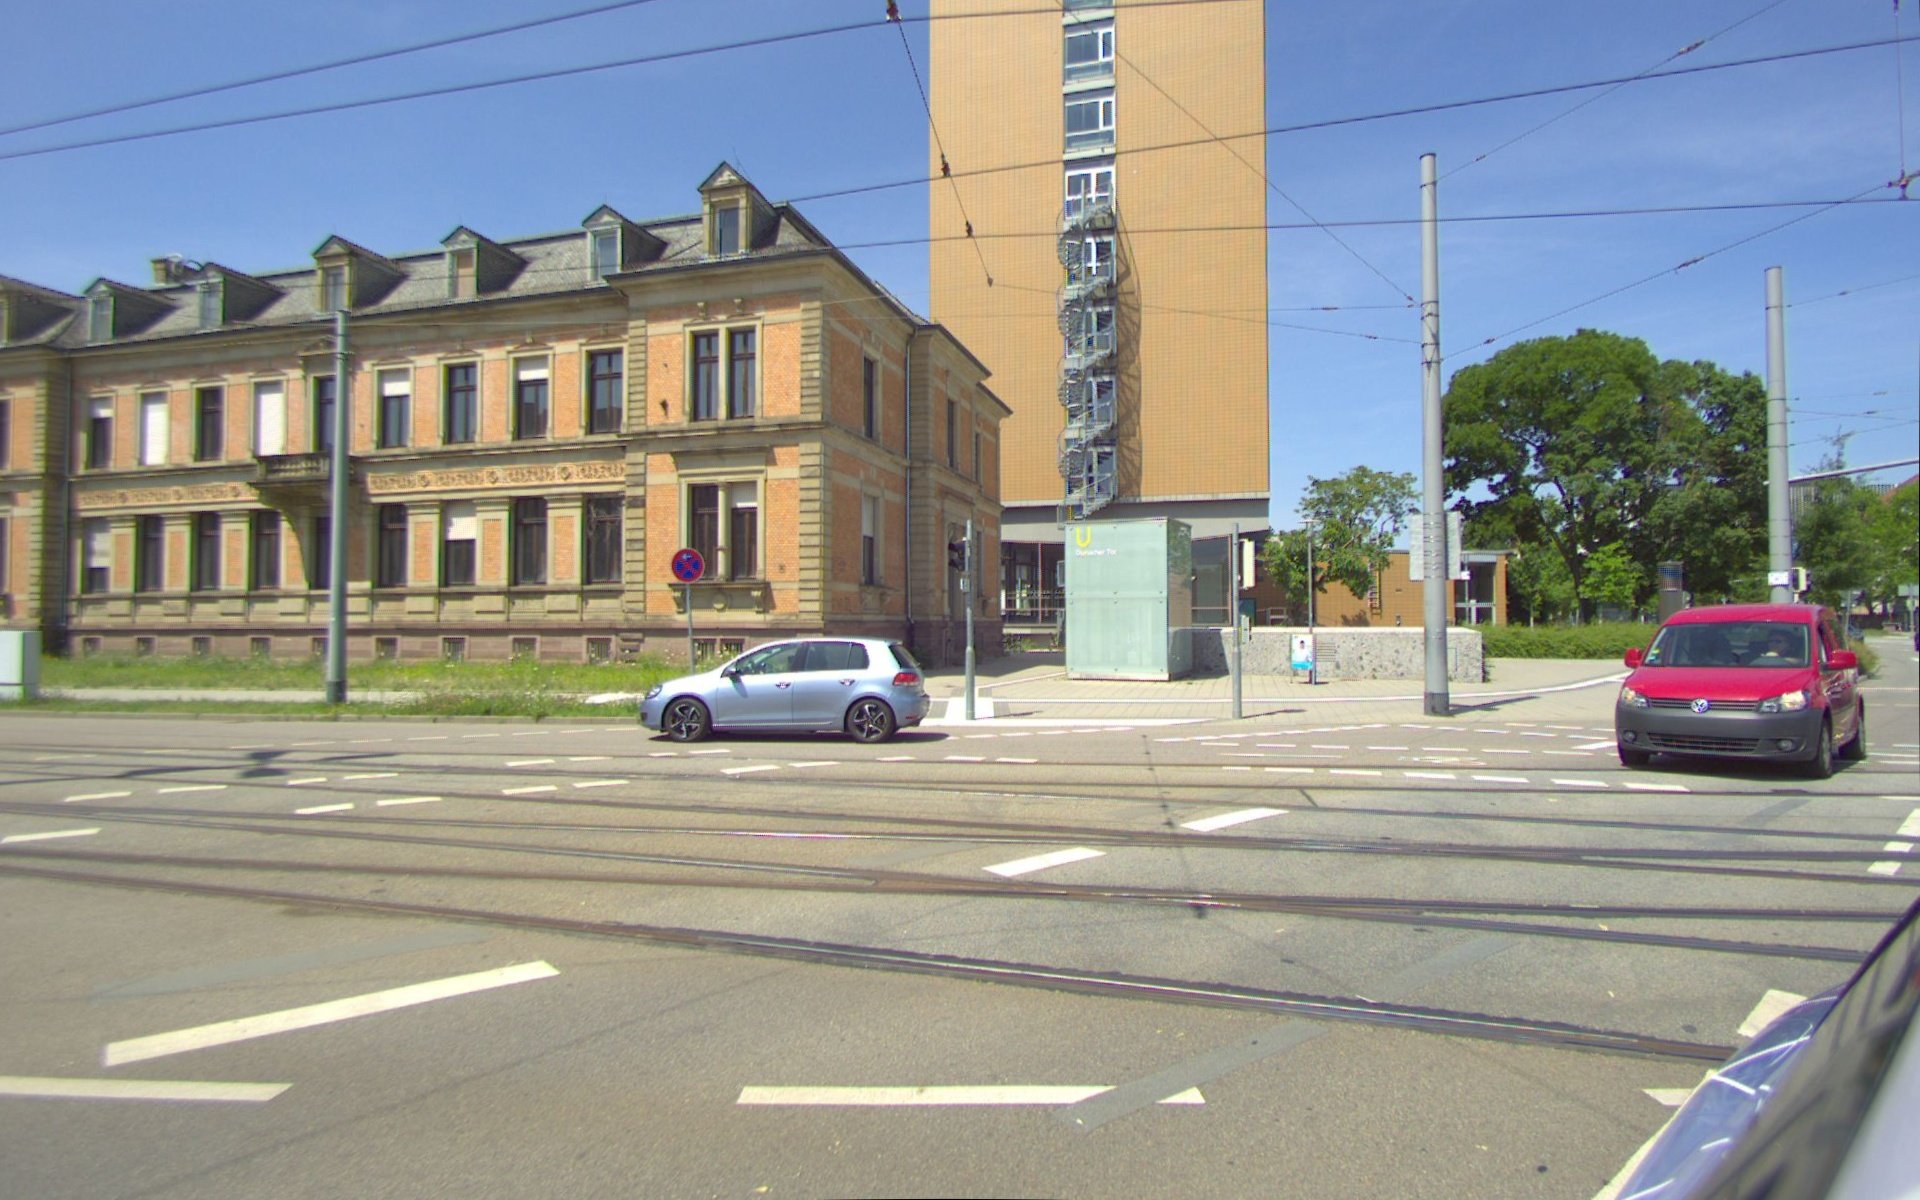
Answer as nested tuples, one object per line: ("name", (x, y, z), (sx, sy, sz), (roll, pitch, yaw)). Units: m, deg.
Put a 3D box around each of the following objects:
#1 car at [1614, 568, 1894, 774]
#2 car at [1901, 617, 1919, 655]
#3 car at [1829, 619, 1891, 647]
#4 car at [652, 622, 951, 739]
("car", (9.056, 0.708, 11.395), (4.467, 1.883, 1.653), (1, -3, -42))
("car", (53.072, 1.954, 54.653), (1.978, 2.040, 3.967), (-1, -2, 24))
("car", (60.795, 2.215, 68.451), (1.979, 1.773, 3.963), (-3, -3, 26))
("car", (-2.163, 1.129, 14.423), (3.932, 1.478, 1.654), (-2, -3, 4))
